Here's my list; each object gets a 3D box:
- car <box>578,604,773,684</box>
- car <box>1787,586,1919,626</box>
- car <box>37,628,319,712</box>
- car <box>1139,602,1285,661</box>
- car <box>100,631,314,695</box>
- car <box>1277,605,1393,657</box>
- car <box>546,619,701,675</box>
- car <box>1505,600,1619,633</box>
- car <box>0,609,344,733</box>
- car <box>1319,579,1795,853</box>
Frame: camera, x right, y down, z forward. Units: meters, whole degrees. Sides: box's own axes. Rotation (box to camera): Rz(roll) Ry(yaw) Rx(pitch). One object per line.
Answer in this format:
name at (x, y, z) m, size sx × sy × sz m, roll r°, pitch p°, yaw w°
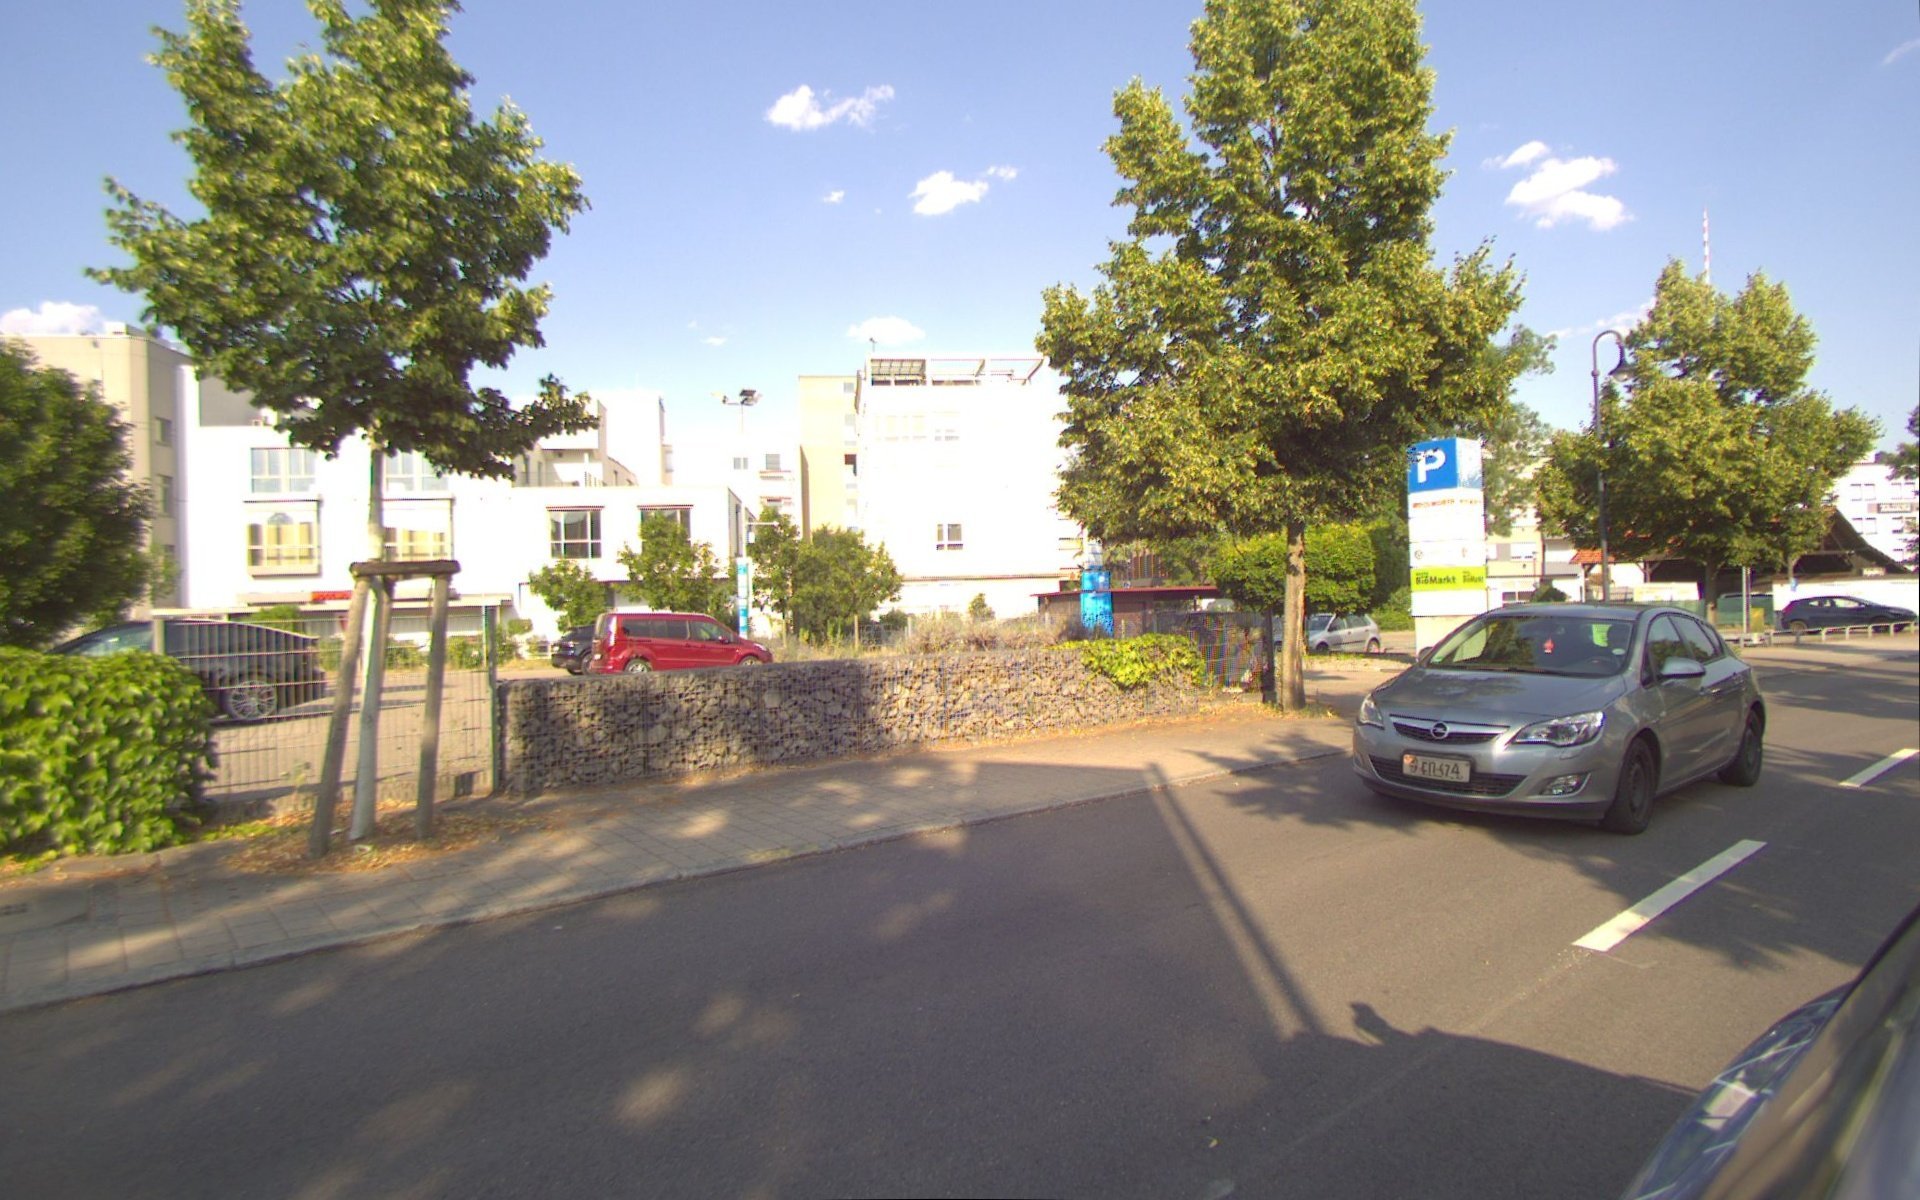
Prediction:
car at (-7.453, 1.093, 26.711) m, size 4.561 × 1.878 × 1.999 m, roll -1°, pitch -1°, yaw -37°
car at (33.618, 0.242, 37.749) m, size 1.900 × 1.438 × 3.840 m, roll -1°, pitch -1°, yaw -31°
car at (-16.067, 1.363, 21.068) m, size 4.464 × 1.462 × 1.998 m, roll -1°, pitch -1°, yaw -38°
car at (6.926, 0.818, 27.745) m, size 3.789 × 1.481 × 1.659 m, roll -1°, pitch -1°, yaw -31°
car at (-20.073, 1.626, 27.164) m, size 4.464 × 1.462 × 1.877 m, roll -1°, pitch -1°, yaw -38°
car at (11.143, 0.887, 30.052) m, size 3.203 × 1.417 × 1.616 m, roll -1°, pitch -1°, yaw -33°
car at (-11.091, 1.500, 33.430) m, size 4.464 × 1.669 × 1.999 m, roll -1°, pitch -1°, yaw -37°
car at (27.319, 0.754, 46.021) m, size 1.900 × 1.438 × 4.002 m, roll -1°, pitch -1°, yaw -31°
car at (-11.717, 0.977, 14.786) m, size 4.464 × 1.552 × 1.998 m, roll -1°, pitch -3°, yaw -38°
car at (4.634, 0.625, 7.591) m, size 4.229 × 1.509 × 1.725 m, roll 0°, pitch 0°, yaw -39°
